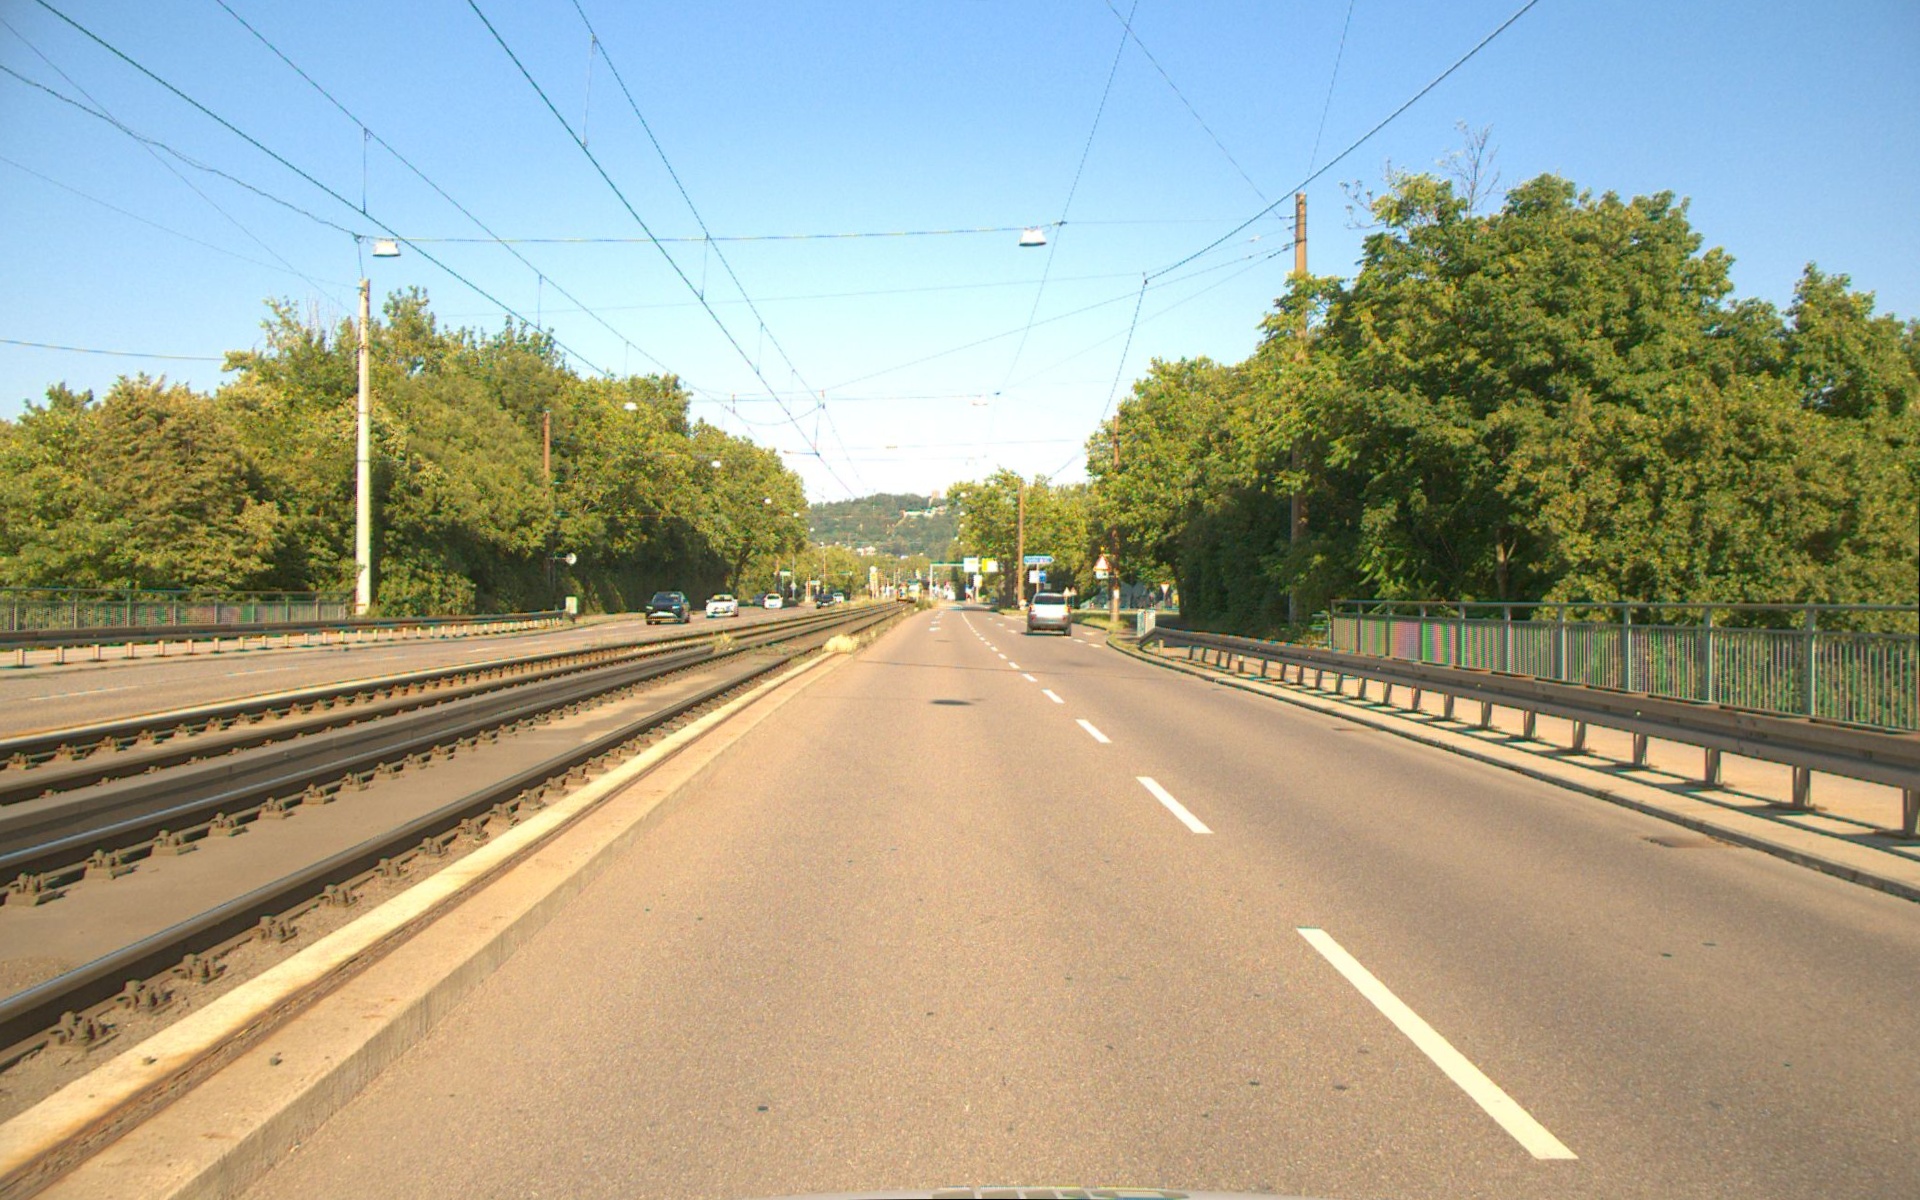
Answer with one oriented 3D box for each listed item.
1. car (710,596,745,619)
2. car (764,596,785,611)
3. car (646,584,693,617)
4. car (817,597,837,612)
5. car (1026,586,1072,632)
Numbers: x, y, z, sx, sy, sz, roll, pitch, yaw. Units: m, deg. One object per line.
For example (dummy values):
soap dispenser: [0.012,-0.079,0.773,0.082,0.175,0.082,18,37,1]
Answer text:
car: [-15.295,0.472,109.045,1.719,1.439,4.876,-2,0,-2]
car: [-19.759,0.361,176.277,1.657,1.583,4.191,-1,0,0]
car: [-14.821,0.033,84.510,1.674,1.608,4.799,0,0,-2]
car: [-13.542,0.459,168.919,1.623,1.458,4.501,-1,0,0]
car: [3.691,0.357,68.211,1.771,1.804,3.864,2,0,4]
